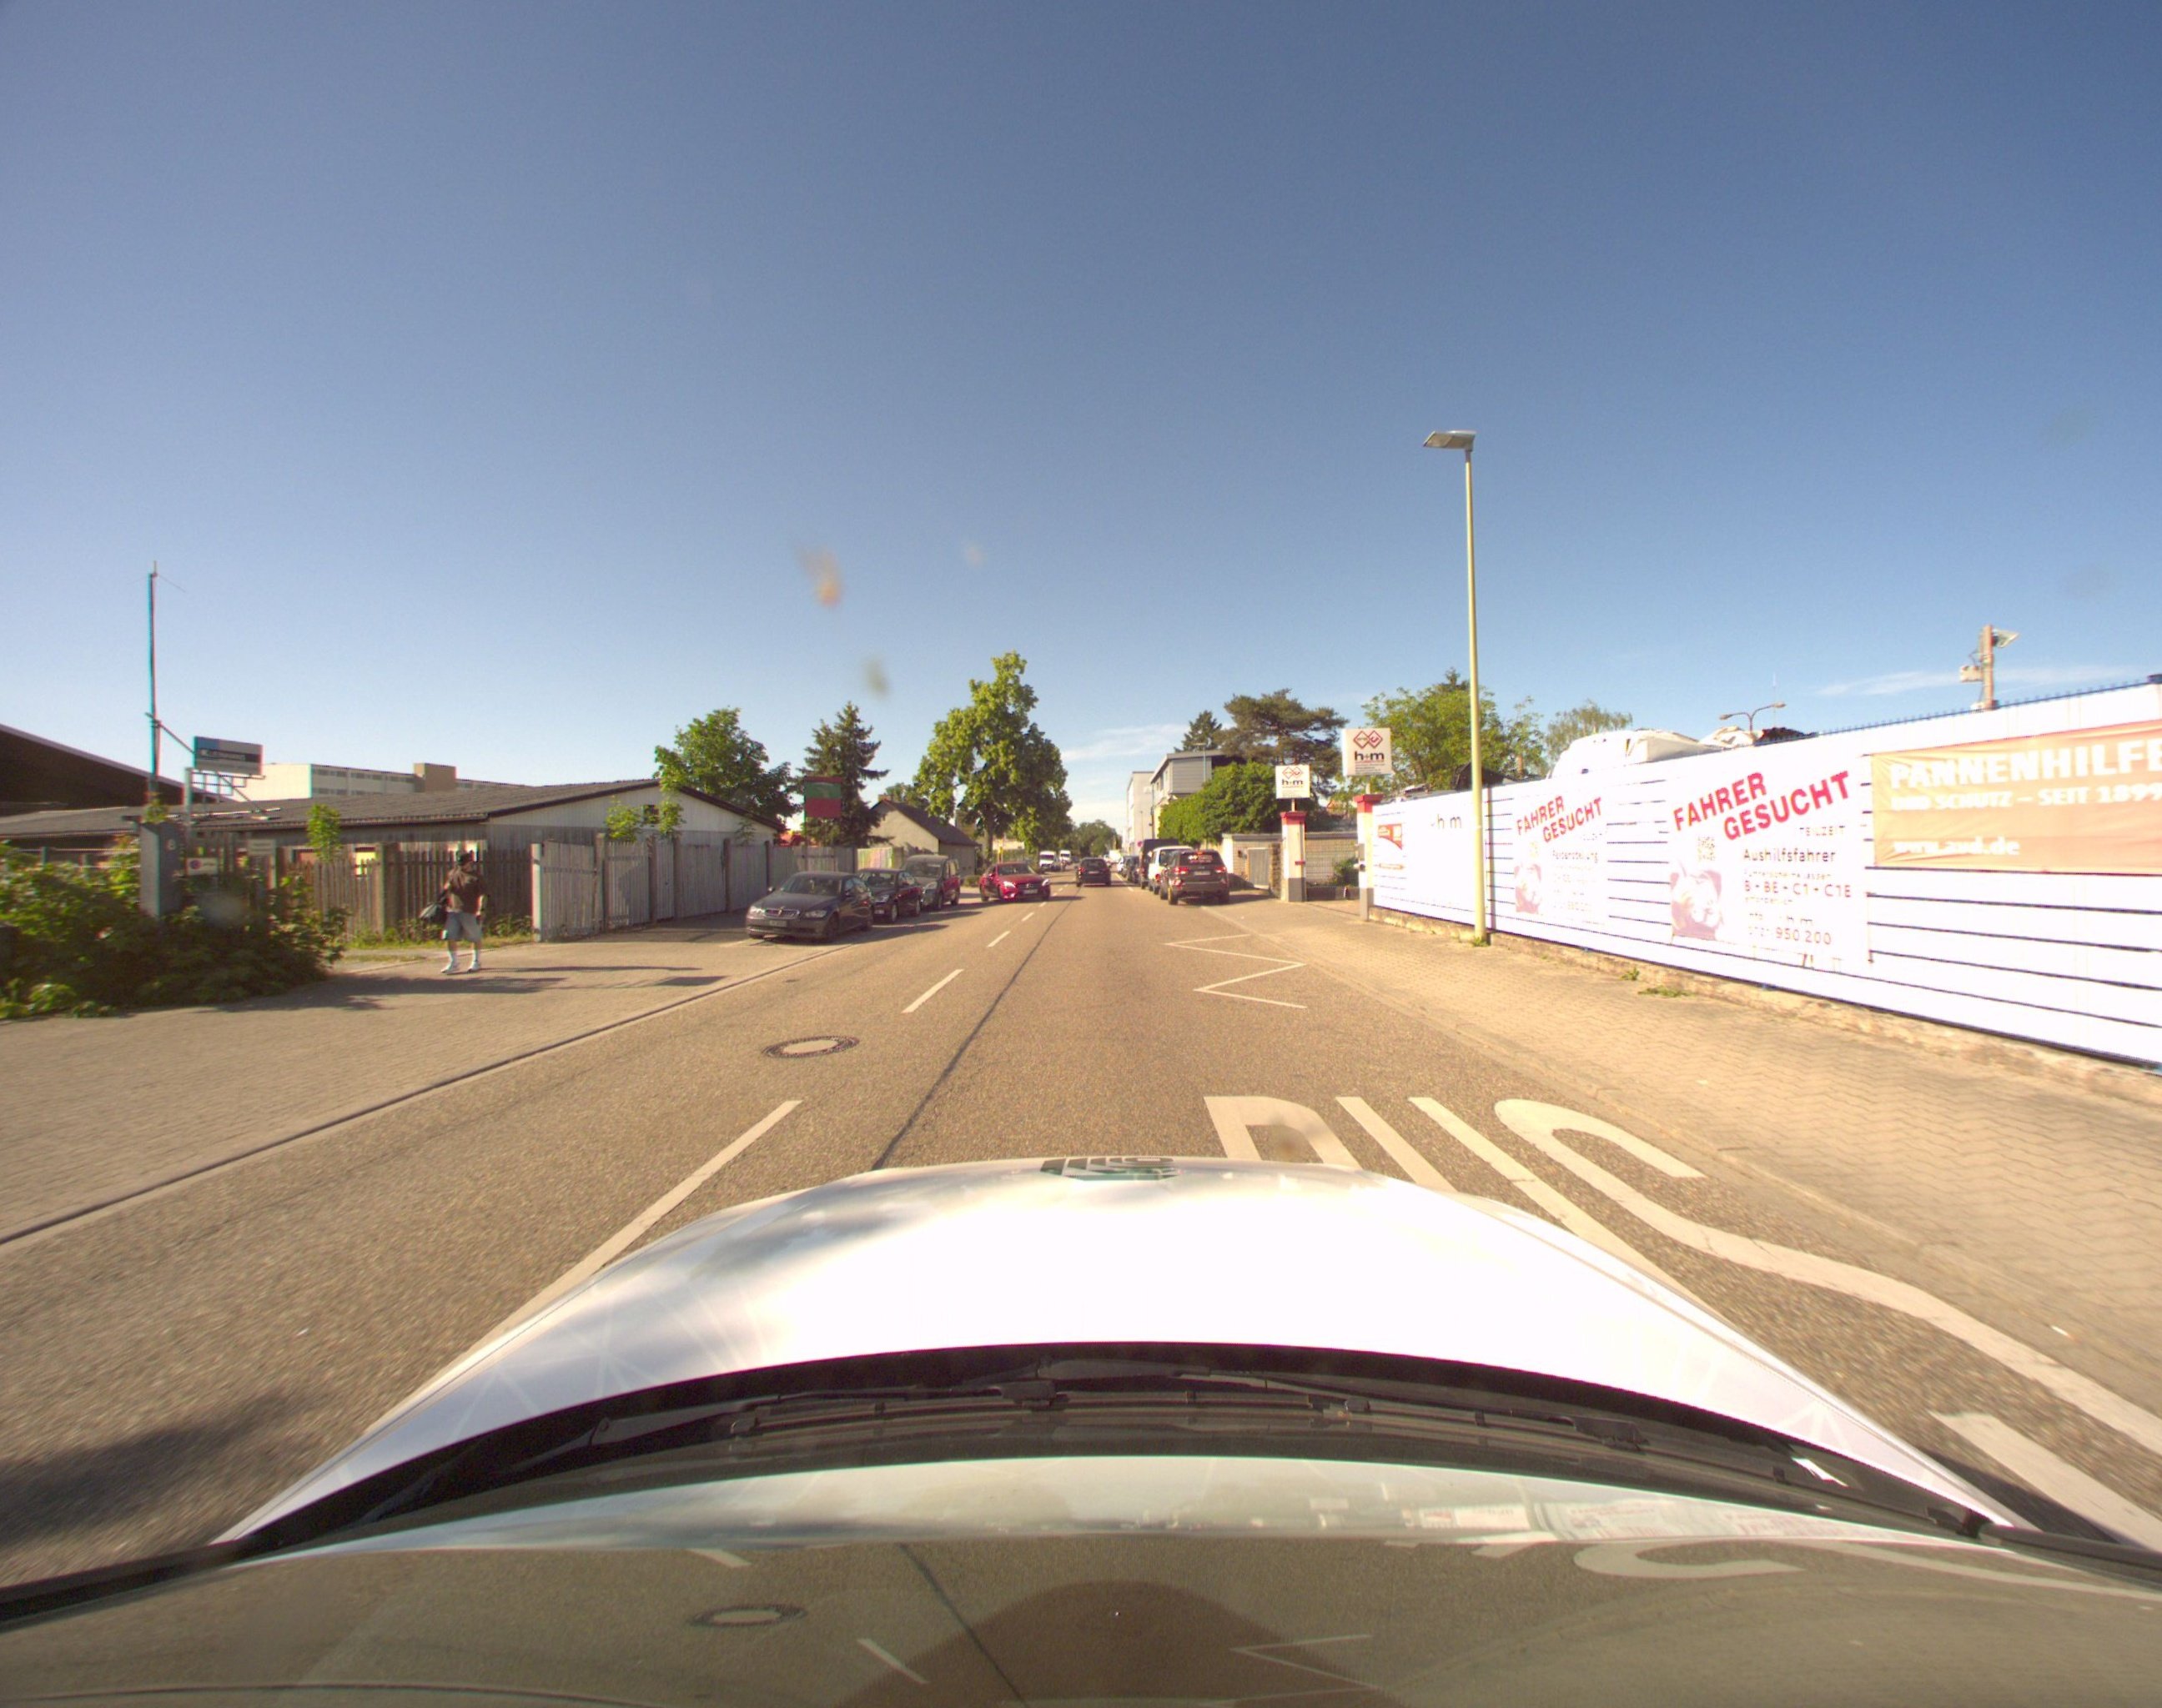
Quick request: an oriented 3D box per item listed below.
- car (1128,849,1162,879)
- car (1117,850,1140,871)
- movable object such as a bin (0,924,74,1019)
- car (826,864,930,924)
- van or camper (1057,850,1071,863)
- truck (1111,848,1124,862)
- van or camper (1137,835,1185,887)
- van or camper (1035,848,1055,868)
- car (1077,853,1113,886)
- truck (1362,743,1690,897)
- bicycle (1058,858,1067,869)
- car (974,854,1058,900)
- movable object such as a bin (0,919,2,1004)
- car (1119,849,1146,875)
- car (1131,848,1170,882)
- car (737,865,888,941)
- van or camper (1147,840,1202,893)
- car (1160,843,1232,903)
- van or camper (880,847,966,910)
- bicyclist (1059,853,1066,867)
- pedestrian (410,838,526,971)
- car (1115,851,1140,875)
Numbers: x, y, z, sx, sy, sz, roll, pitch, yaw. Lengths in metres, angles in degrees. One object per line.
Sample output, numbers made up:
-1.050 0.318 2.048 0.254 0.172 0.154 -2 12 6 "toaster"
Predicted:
3.975 0.604 51.372 1.912 1.825 4.081 -1 0 2 "car"
4.246 0.550 72.706 1.912 1.825 4.081 -1 0 2 "car"
-11.334 1.237 8.646 0.495 0.923 0.642 -1 0 12 "movable object such as a bin"
-5.705 1.064 23.425 1.687 1.469 4.178 -1 0 4 "car"
-3.161 0.408 150.097 2.317 2.362 6.522 -1 0 -2 "van or camper"
5.853 0.173 132.976 1.986 2.287 6.958 -1 0 2 "truck"
3.758 0.308 38.968 1.986 2.310 4.002 -1 0 2 "van or camper"
-4.461 0.492 100.547 2.317 2.362 6.522 -1 0 -2 "van or camper"
0.753 0.754 41.872 1.705 1.532 3.690 -2 0 3 "car"
11.779 -0.882 22.007 7.356 3.771 2.830 -1 0 -3 "truck"
-2.076 1.070 91.491 0.826 1.153 2.940 -1 0 0 "bicycle"
-2.476 0.806 30.041 1.884 1.485 4.014 -3 1 -22 "car"
-12.456 1.217 8.901 0.495 0.954 0.642 -1 0 12 "movable object such as a bin"
3.855 0.565 61.547 1.912 1.825 4.081 -1 0 2 "car"
3.880 0.597 46.059 1.912 1.825 4.081 -1 0 2 "car"
-5.890 1.004 18.502 1.750 1.403 4.559 -1 0 2 "car"
3.800 0.484 33.806 1.912 2.019 4.081 -1 0 2 "van or camper"
3.770 0.583 27.280 1.912 1.825 4.081 -1 0 2 "car"
-5.347 0.795 28.173 1.883 1.926 4.269 -2 -1 3 "van or camper"
-2.096 0.708 91.608 0.693 1.539 0.635 -1 0 -1 "bicyclist"
-8.927 0.699 11.906 0.996 1.838 0.918 -1 0 -8 "pedestrian"
3.757 0.706 66.215 1.912 1.825 4.081 -1 0 2 "car"
